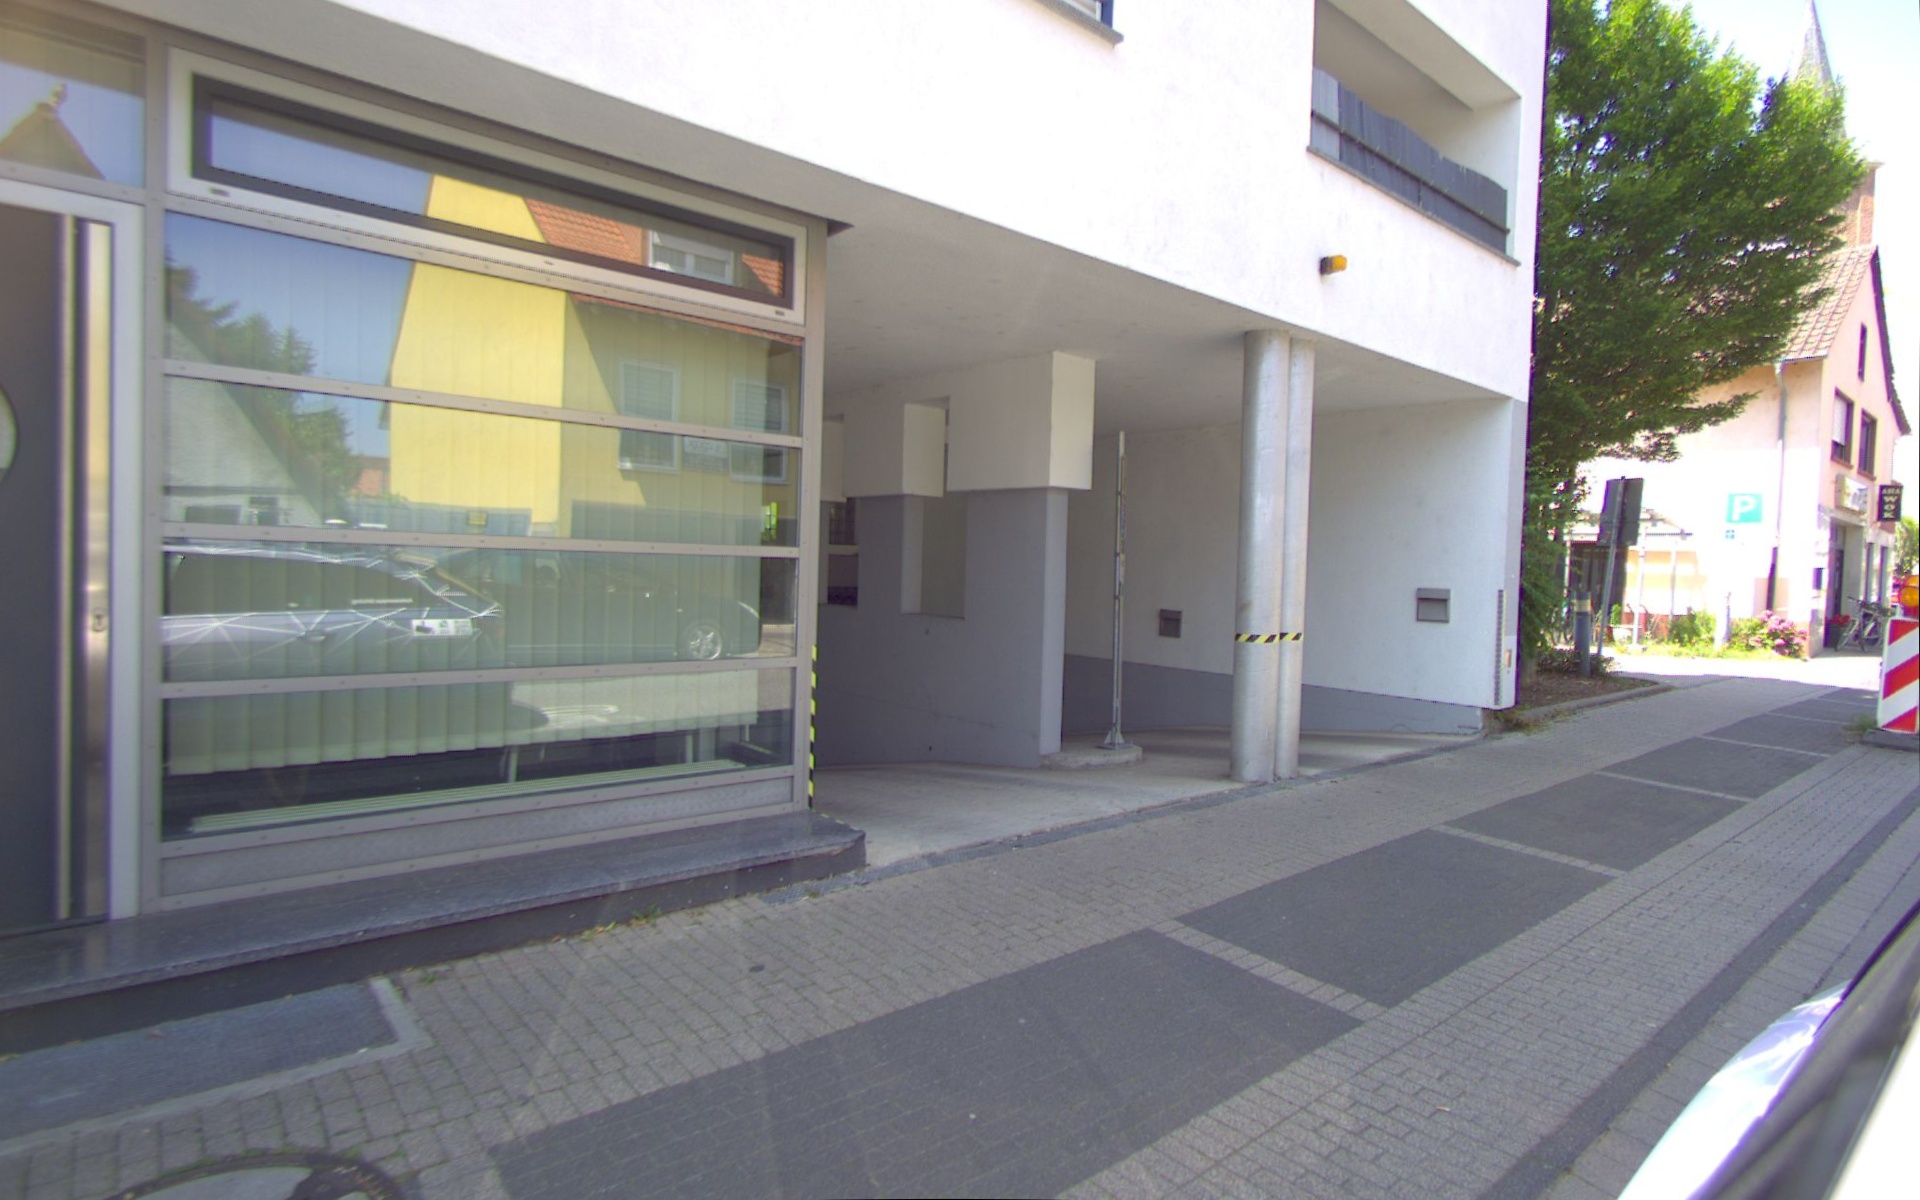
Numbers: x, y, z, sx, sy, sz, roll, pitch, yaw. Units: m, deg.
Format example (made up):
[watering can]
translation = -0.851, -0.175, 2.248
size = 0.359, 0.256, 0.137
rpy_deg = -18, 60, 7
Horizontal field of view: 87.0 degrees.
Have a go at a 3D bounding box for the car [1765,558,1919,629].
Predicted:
[car]
translation = 26.849, -0.207, 30.077
size = 1.965, 1.882, 4.203
rpy_deg = 0, 4, -40
